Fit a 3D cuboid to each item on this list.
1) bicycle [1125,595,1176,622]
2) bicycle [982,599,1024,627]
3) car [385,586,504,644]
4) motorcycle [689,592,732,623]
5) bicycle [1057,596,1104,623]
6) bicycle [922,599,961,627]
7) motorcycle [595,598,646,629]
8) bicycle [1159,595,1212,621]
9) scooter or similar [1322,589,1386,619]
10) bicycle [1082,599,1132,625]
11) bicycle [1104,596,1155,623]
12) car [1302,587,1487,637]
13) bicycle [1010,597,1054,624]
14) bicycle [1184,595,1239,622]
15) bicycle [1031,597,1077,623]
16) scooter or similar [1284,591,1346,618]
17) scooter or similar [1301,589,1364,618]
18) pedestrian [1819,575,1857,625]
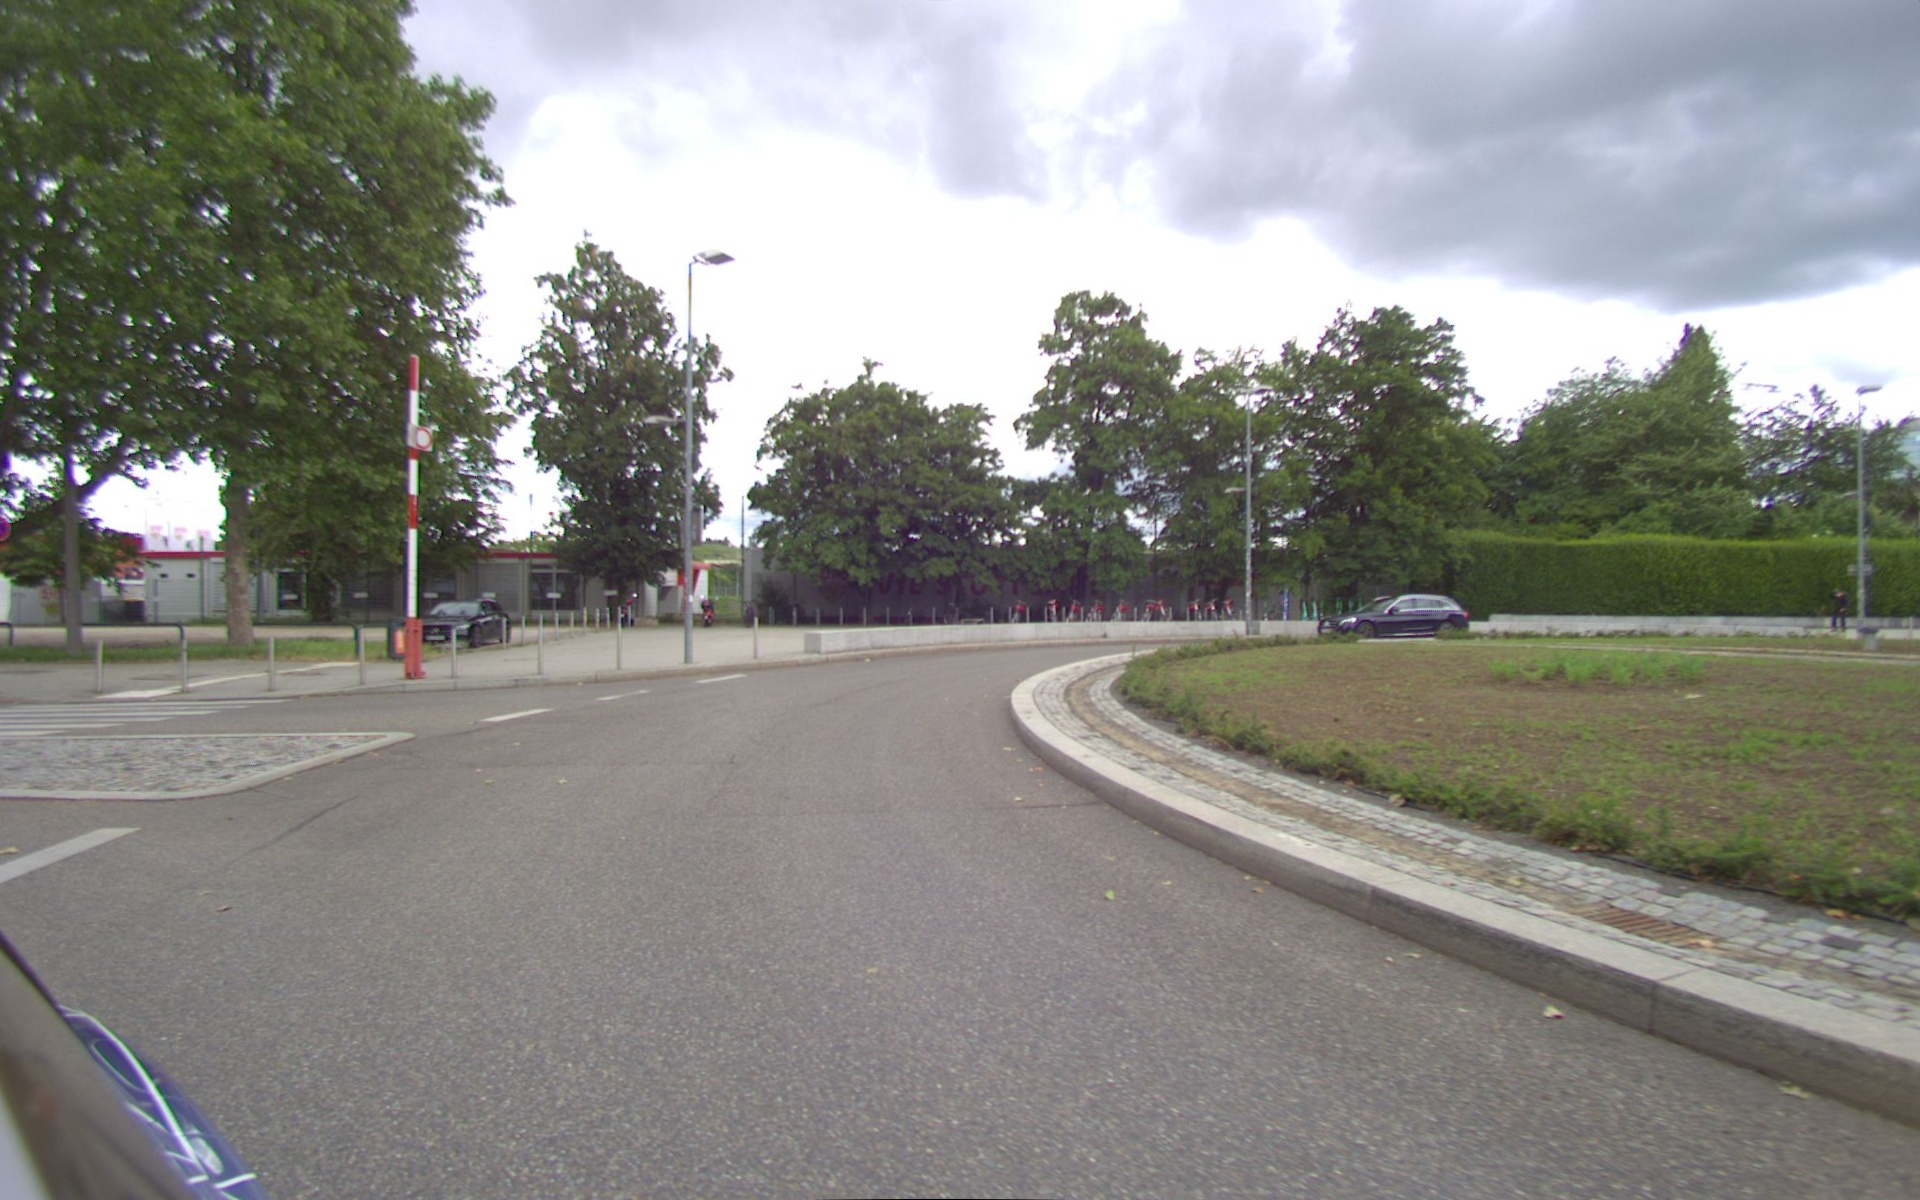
[{"bbox_3d":[8.409,0.355,44.777,0.760,1.105,3.202,0,1,-19],"label":"bicycle"},{"bbox_3d":[1.827,0.543,43.948,0.760,1.105,3.202,0,1,-18],"label":"bicycle"},{"bbox_3d":[-15.319,0.443,30.344,2.195,1.617,4.009,0,0,-12],"label":"car"},{"bbox_3d":[-10.556,0.301,42.984,0.763,1.231,3.669,0,1,3],"label":"motorcycle"},{"bbox_3d":[5.230,0.400,44.335,0.760,1.105,3.202,0,0,-19],"label":"bicycle"},{"bbox_3d":[-0.816,0.544,43.111,0.760,1.105,3.202,0,1,-18],"label":"bicycle"},{"bbox_3d":[-14.328,0.555,42.901,0.763,1.231,3.669,0,1,3],"label":"motorcycle"},{"bbox_3d":[9.905,0.337,44.630,0.760,1.105,3.202,0,1,-19],"label":"bicycle"},{"bbox_3d":[17.485,0.156,45.057,0.760,1.259,3.202,0,1,-19],"label":"scooter or similar"},{"bbox_3d":[6.349,0.523,43.934,0.760,1.105,3.202,0,-1,-19],"label":"bicycle"},{"bbox_3d":[7.406,0.405,44.405,0.760,1.105,3.202,0,1,-19],"label":"bicycle"},{"bbox_3d":[13.230,0.344,30.959,4.855,1.471,2.004,0,1,-9],"label":"car"},{"bbox_3d":[3.132,0.431,44.295,0.760,1.105,3.202,0,1,-18],"label":"bicycle"},{"bbox_3d":[11.094,0.348,44.758,0.760,1.105,3.202,0,1,-19],"label":"bicycle"},{"bbox_3d":[4.088,0.417,44.426,0.760,1.105,3.202,0,1,-19],"label":"bicycle"},{"bbox_3d":[15.542,0.174,44.447,0.760,1.105,3.202,0,1,-19],"label":"scooter or similar"},{"bbox_3d":[16.421,0.138,44.753,0.760,1.259,3.202,0,1,-19],"label":"scooter or similar"},{"bbox_3d":[36.456,0.005,42.036,0.589,2.029,1.049,0,0,-14],"label":"pedestrian"}]
